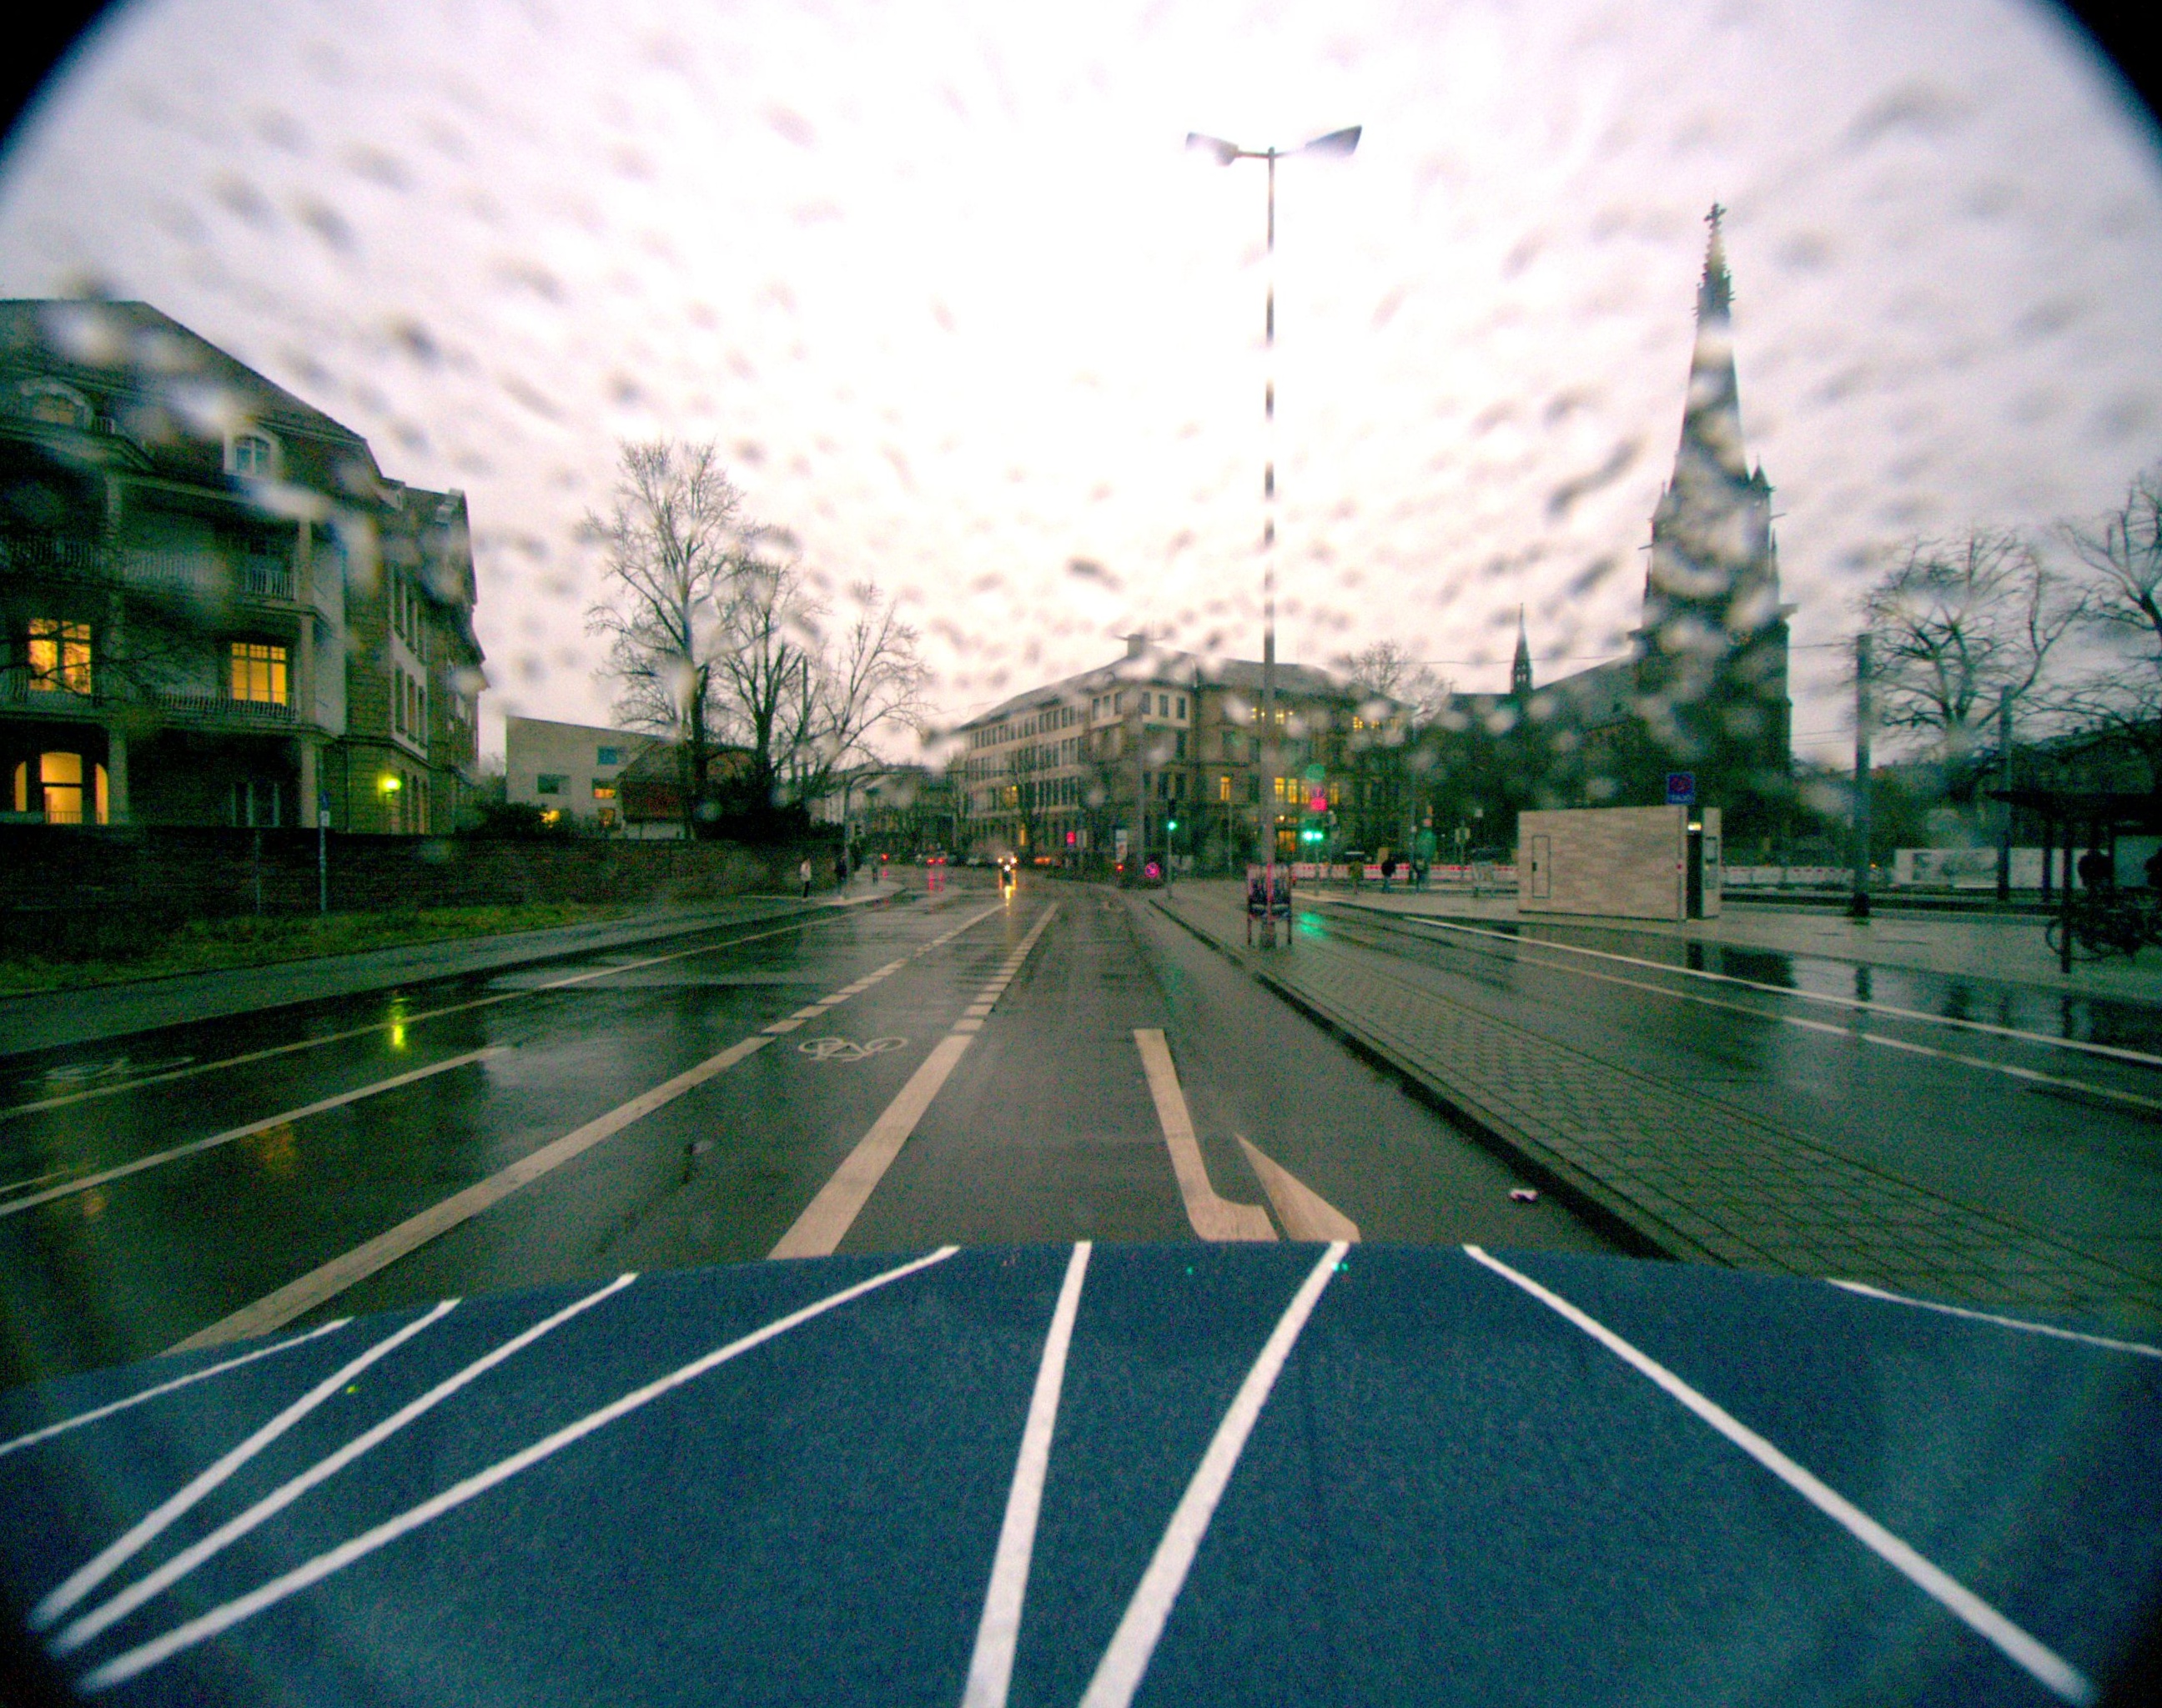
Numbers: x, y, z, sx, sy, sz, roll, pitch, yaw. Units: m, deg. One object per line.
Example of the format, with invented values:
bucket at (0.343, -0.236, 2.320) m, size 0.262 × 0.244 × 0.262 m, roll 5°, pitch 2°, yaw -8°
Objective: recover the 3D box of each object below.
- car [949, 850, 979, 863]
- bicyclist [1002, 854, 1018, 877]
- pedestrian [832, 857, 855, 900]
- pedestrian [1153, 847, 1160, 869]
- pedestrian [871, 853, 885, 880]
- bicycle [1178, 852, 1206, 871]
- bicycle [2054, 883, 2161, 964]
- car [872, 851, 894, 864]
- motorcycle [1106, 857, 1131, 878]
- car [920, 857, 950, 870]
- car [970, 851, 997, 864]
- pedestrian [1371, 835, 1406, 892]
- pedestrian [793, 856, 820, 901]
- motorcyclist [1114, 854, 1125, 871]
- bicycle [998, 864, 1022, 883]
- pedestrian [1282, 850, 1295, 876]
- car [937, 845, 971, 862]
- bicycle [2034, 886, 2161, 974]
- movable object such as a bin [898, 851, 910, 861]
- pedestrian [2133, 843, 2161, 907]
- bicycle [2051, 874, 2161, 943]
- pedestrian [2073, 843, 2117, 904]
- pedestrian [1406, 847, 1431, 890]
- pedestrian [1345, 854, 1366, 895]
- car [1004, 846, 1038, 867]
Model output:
car at (-15.195, 0.299, 98.874) m, size 1.819 × 1.531 × 3.983 m, roll 0°, pitch 2°, yaw 29°
bicyclist at (-4.288, 0.703, 45.826) m, size 0.718 × 1.335 × 0.718 m, roll -3°, pitch 3°, yaw -23°
pedestrian at (-9.511, 0.978, 30.448) m, size 0.792 × 1.666 × 0.729 m, roll 1°, pitch 1°, yaw -12°
pedestrian at (7.189, 0.378, 72.096) m, size 0.571 × 2.003 × 0.587 m, roll -1°, pitch 3°, yaw 5°
pedestrian at (-12.909, 0.808, 48.226) m, size 0.808 × 1.675 × 1.155 m, roll 1°, pitch 0°, yaw -16°
bicycle at (10.183, 0.711, 69.619) m, size 2.424 × 1.679 × 0.714 m, roll -1°, pitch 3°, yaw 17°
bicycle at (16.632, 1.083, 11.734) m, size 0.551 × 1.158 × 1.894 m, roll -3°, pitch 3°, yaw -29°
car at (-26.187, 0.407, 100.253) m, size 1.763 × 1.652 × 4.519 m, roll 1°, pitch 0°, yaw -28°
motorcycle at (2.767, 0.989, 56.498) m, size 0.833 × 1.488 × 2.309 m, roll 0°, pitch 1°, yaw -25°
car at (-16.554, 1.059, 86.165) m, size 1.756 × 1.370 × 4.354 m, roll 1°, pitch 0°, yaw -34°
car at (-12.117, 0.431, 94.825) m, size 1.633 × 1.449 × 3.831 m, roll -1°, pitch 2°, yaw 23°
pedestrian at (12.970, 0.389, 32.080) m, size 0.996 × 2.357 × 1.063 m, roll -2°, pitch 3°, yaw -4°
pedestrian at (-10.573, 0.931, 29.266) m, size 0.963 × 1.666 × 0.778 m, roll 1°, pitch 1°, yaw -21°
motorcyclist at (2.852, 0.616, 56.426) m, size 0.538 × 1.187 × 0.609 m, roll -3°, pitch 3°, yaw -27°
bicycle at (-4.309, 1.176, 45.900) m, size 0.725 × 1.084 × 2.281 m, roll -2°, pitch 0°, yaw -23°
pedestrian at (16.169, 0.701, 59.168) m, size 0.740 × 2.003 × 0.646 m, roll 0°, pitch 3°, yaw 38°
car at (-16.852, -0.066, 101.361) m, size 1.961 × 2.042 × 4.629 m, roll 0°, pitch 3°, yaw 29°
bicycle at (15.569, 1.121, 11.115) m, size 0.551 × 1.158 × 1.938 m, roll -3°, pitch 3°, yaw -29°
movable object such as a bin at (-26.899, 0.352, 115.547) m, size 1.341 × 1.456 × 0.987 m, roll -1°, pitch 3°, yaw 19°
pedestrian at (30.773, 0.584, 21.745) m, size 0.715 × 1.796 × 0.715 m, roll -2°, pitch 2°, yaw -34°
bicycle at (19.519, 0.997, 14.033) m, size 0.551 × 1.158 × 1.894 m, roll -3°, pitch 3°, yaw -29°
pedestrian at (30.251, 0.564, 22.673) m, size 0.715 × 1.747 × 0.715 m, roll -2°, pitch 2°, yaw -34°
pedestrian at (14.709, 0.637, 33.113) m, size 0.604 × 1.803 × 0.825 m, roll -4°, pitch 1°, yaw -3°
pedestrian at (11.435, 0.833, 31.644) m, size 0.673 × 1.665 × 0.731 m, roll 0°, pitch 3°, yaw 32°
car at (-6.643, 0.254, 84.743) m, size 1.908 × 2.022 × 4.809 m, roll -1°, pitch 2°, yaw 19°
